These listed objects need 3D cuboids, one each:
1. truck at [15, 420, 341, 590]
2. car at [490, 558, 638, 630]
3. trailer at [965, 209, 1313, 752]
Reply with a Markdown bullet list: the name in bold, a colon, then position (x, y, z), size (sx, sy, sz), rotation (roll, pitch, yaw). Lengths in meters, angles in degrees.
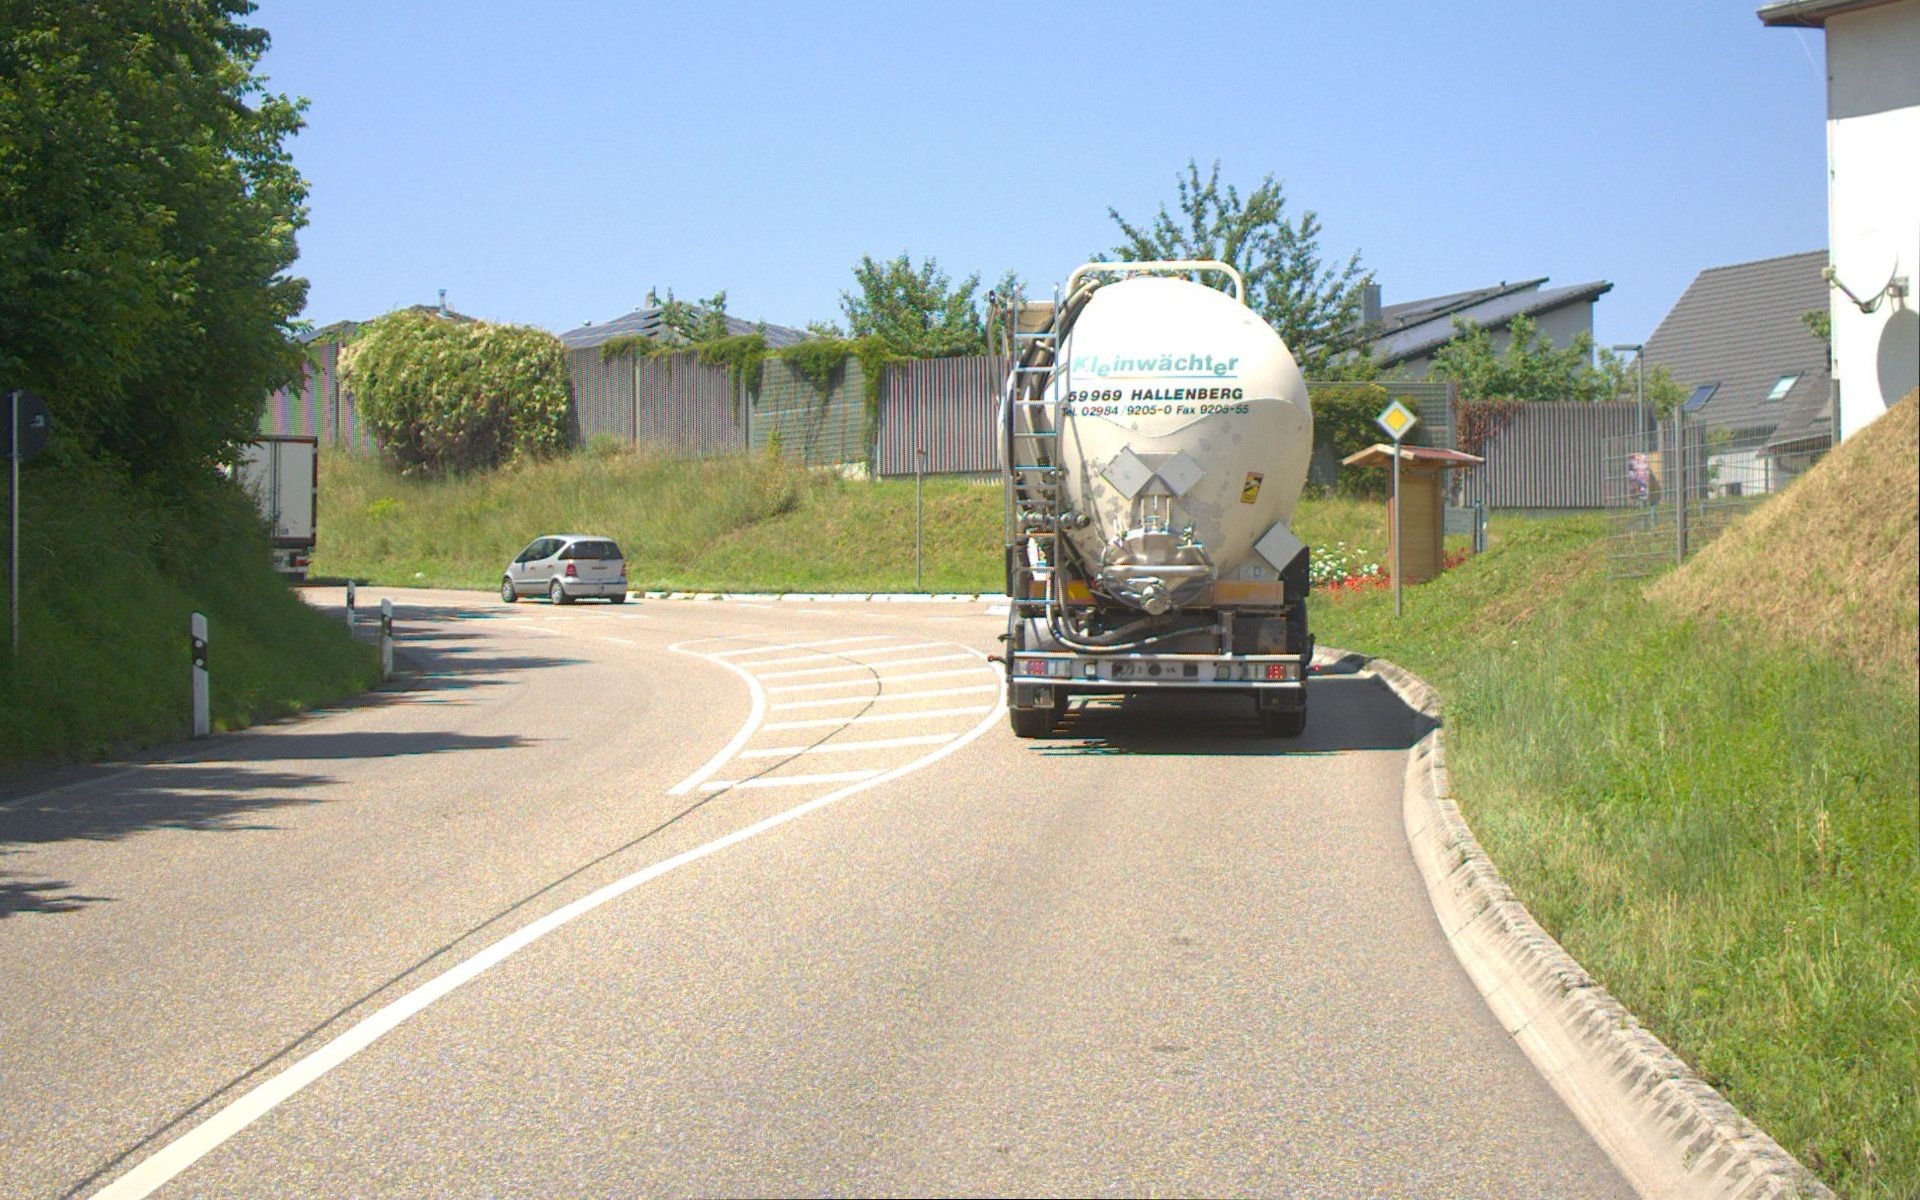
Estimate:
- **truck**: position (-21.760, -2.701, 94.949), size (3.191, 4.295, 11.795), rotation (3, 0, -42)
- **car**: position (-8.922, -0.142, 77.259), size (1.648, 1.504, 3.638), rotation (3, -1, -36)
- **trailer**: position (1.908, -0.976, 32.527), size (2.661, 4.174, 11.902), rotation (0, 1, 5)
